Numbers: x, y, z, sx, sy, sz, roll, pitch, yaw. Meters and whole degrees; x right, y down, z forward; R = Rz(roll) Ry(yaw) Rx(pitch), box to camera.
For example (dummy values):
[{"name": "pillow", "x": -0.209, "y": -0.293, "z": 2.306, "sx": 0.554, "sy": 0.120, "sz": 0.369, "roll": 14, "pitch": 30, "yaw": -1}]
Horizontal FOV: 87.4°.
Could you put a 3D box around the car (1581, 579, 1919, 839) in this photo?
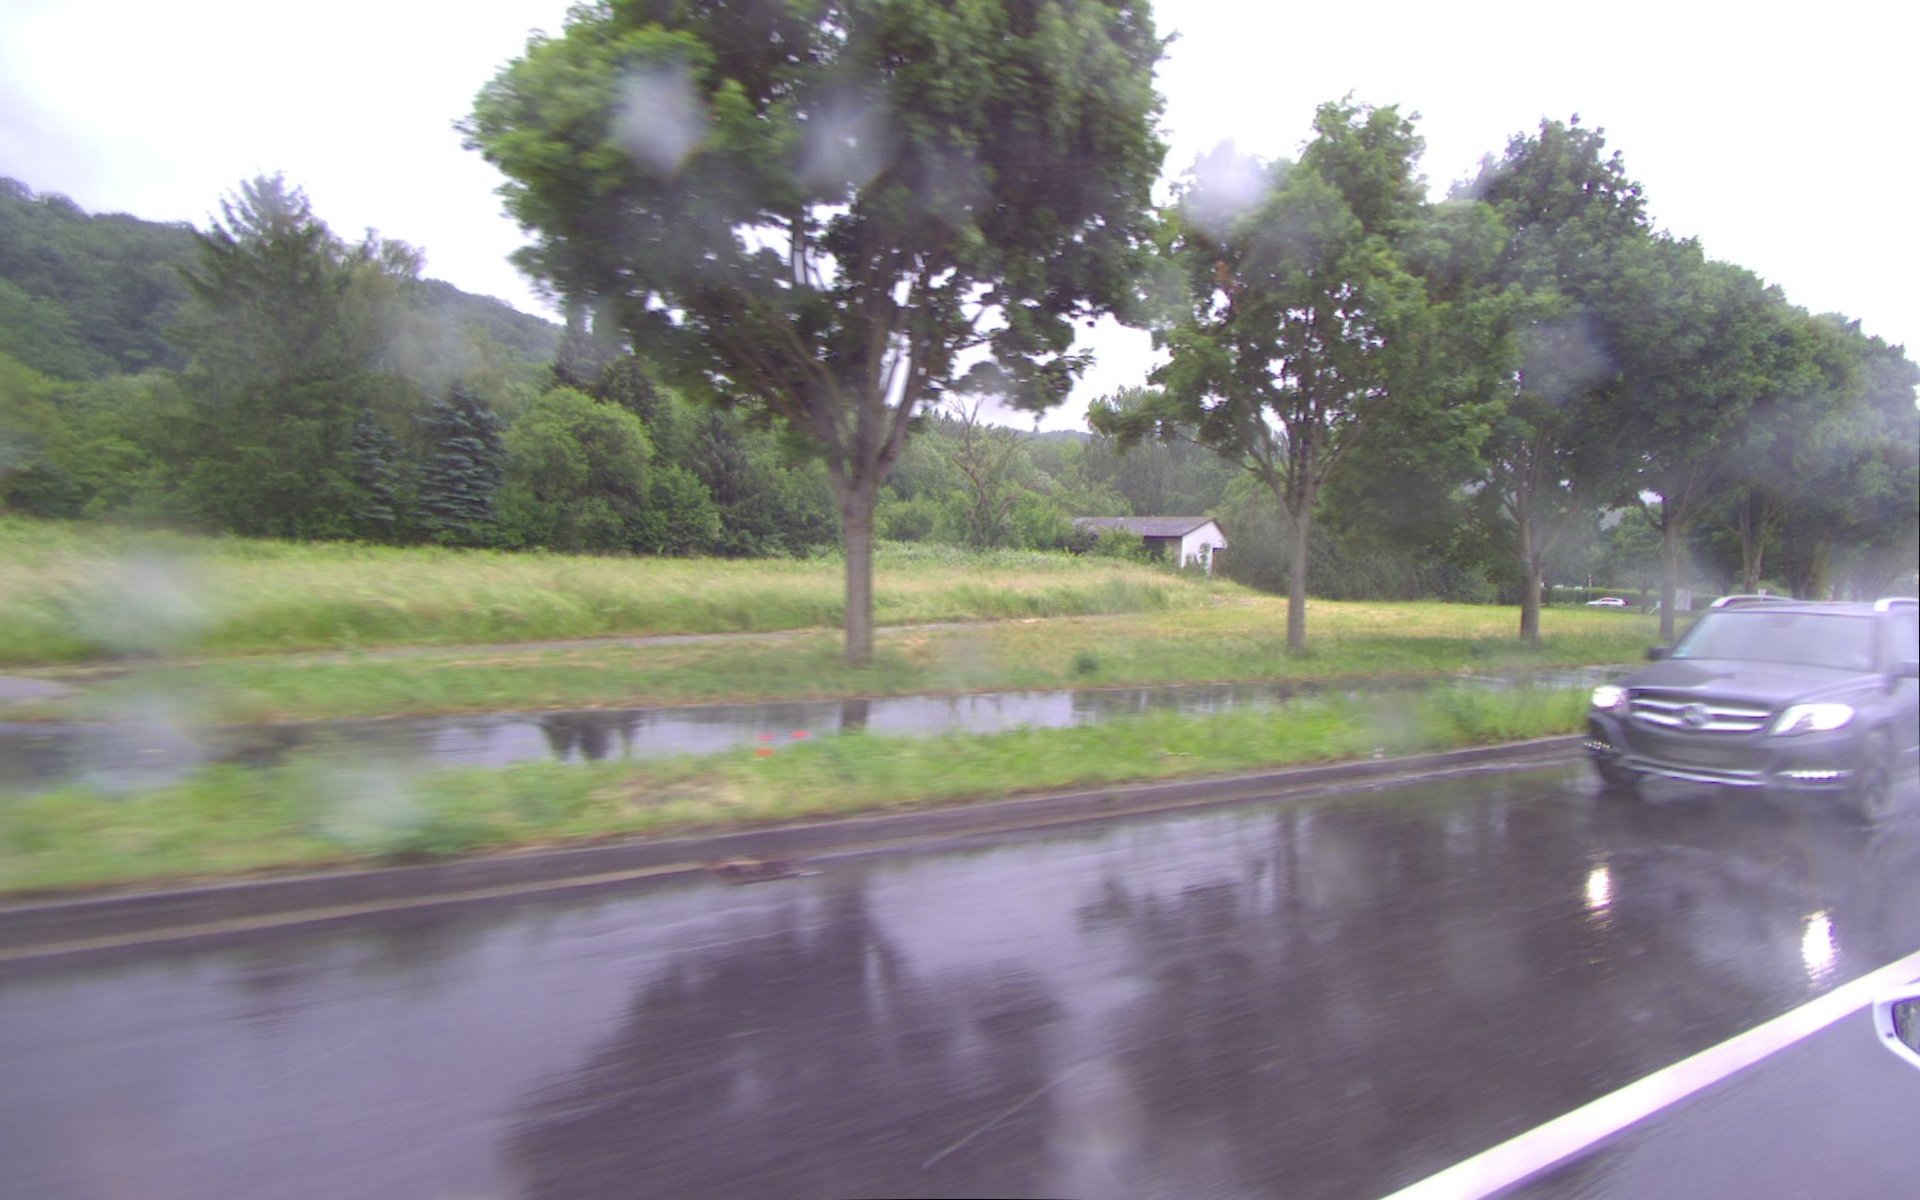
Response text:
[{"name": "car", "x": 7.260, "y": 0.751, "z": 8.549, "sx": 4.177, "sy": 1.726, "sz": 1.731, "roll": 1, "pitch": 0, "yaw": -33}]
